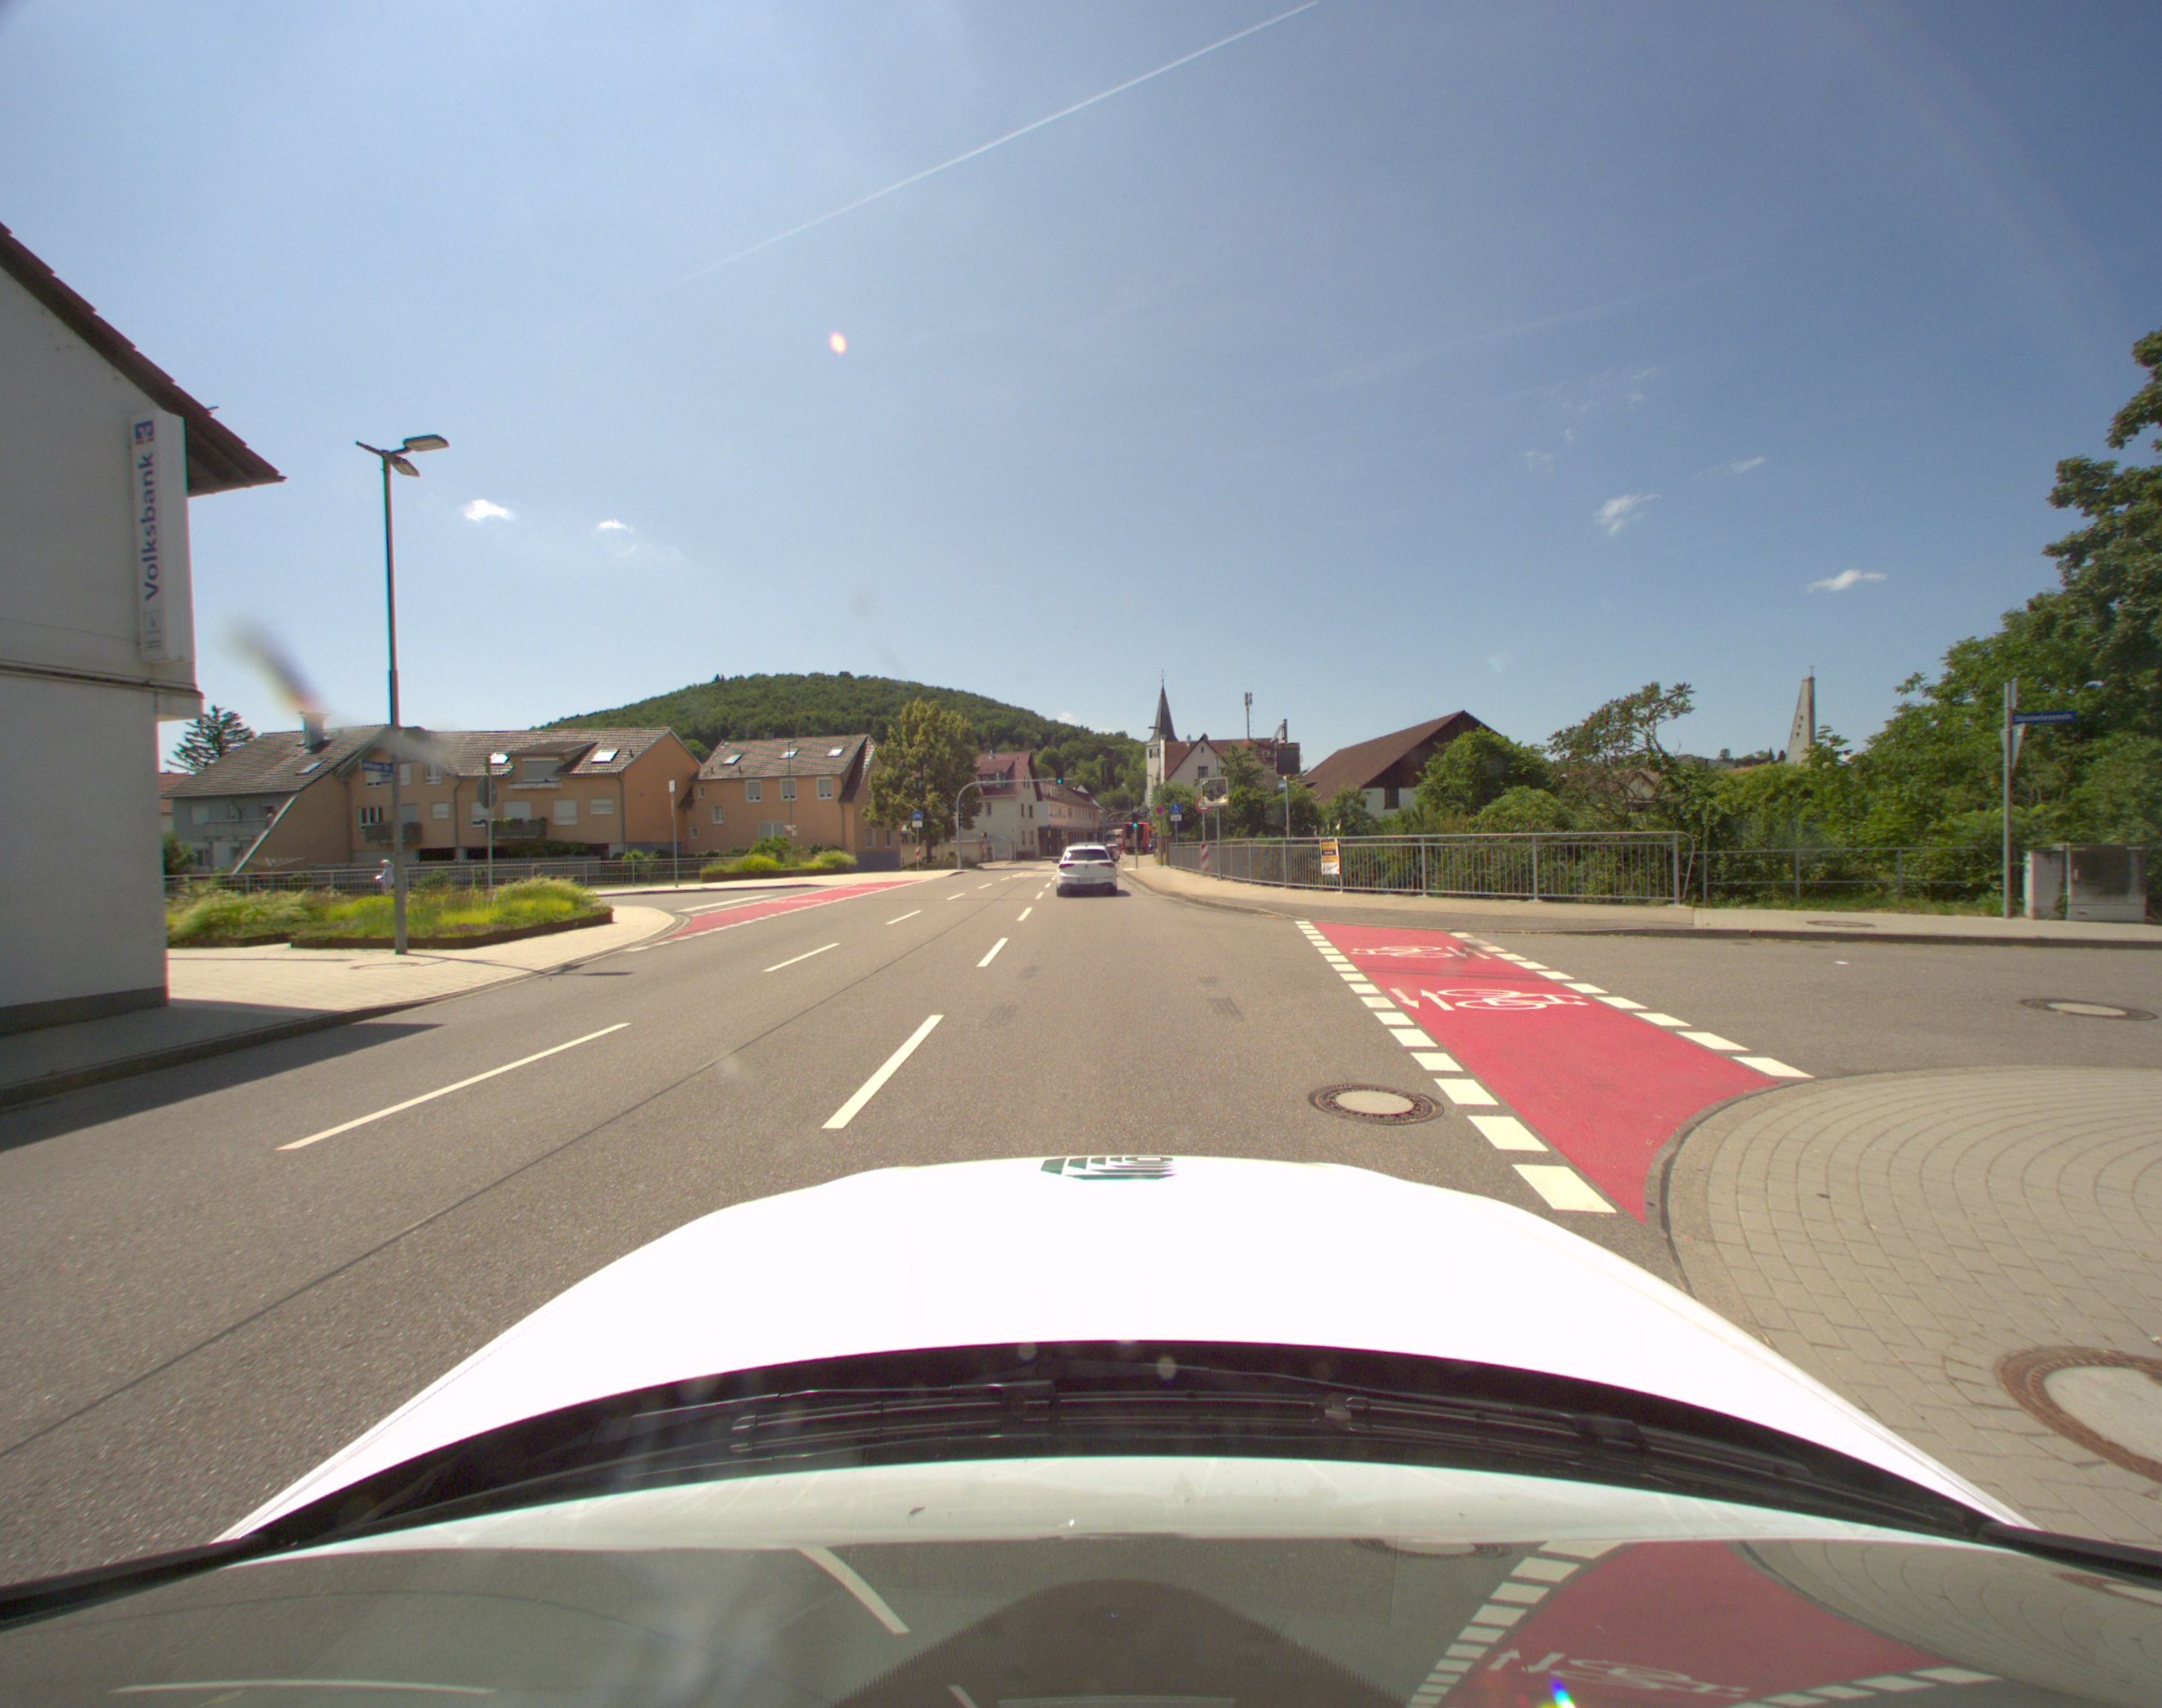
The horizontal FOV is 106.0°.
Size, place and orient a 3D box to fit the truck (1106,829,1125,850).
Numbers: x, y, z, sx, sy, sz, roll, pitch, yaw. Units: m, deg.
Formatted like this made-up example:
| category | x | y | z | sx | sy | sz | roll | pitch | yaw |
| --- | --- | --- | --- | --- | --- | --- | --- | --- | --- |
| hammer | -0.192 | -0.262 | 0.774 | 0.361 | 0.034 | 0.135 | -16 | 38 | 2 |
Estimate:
| category | x | y | z | sx | sy | sz | roll | pitch | yaw |
| --- | --- | --- | --- | --- | --- | --- | --- | --- | --- |
| truck | 5.572 | -2.285 | 131.825 | 2.489 | 3.235 | 6.052 | -3 | 0 | 7 |

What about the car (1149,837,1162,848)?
| category | x | y | z | sx | sy | sz | roll | pitch | yaw |
| --- | --- | --- | --- | --- | --- | --- | --- | --- | --- |
| car | 10.983 | -1.732 | 120.336 | 1.807 | 1.519 | 4.004 | -3 | 0 | 4 |

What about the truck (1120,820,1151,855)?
| category | x | y | z | sx | sy | sz | roll | pitch | yaw |
| --- | --- | --- | --- | --- | --- | --- | --- | --- | --- |
| truck | 7.166 | -2.074 | 105.286 | 3.350 | 4.170 | 9.536 | -3 | 0 | 6 |

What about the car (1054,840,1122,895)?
| category | x | y | z | sx | sy | sz | roll | pitch | yaw |
| --- | --- | --- | --- | --- | --- | --- | --- | --- | --- |
| car | 0.300 | 0.370 | 24.593 | 1.807 | 1.519 | 4.004 | 0 | 0 | 4 |

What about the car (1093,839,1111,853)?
| category | x | y | z | sx | sy | sz | roll | pitch | yaw |
| --- | --- | --- | --- | --- | --- | --- | --- | --- | --- |
| car | 2.450 | -0.918 | 94.819 | 1.807 | 1.519 | 4.004 | -3 | 0 | 4 |

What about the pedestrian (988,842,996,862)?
| category | x | y | z | sx | sy | sz | roll | pitch | yaw |
| --- | --- | --- | --- | --- | --- | --- | --- | --- | --- |
| pedestrian | -8.328 | -0.194 | 76.242 | 0.430 | 1.764 | 0.560 | -2 | 1 | 23 |

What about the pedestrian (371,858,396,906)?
| category | x | y | z | sx | sy | sz | roll | pitch | yaw |
| --- | --- | --- | --- | --- | --- | --- | --- | --- | --- |
| pedestrian | -26.067 | 1.033 | 30.430 | 0.617 | 1.748 | 0.501 | -2 | 1 | -35 |

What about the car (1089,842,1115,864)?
| category | x | y | z | sx | sy | sz | roll | pitch | yaw |
| --- | --- | --- | --- | --- | --- | --- | --- | --- | --- |
| car | 1.745 | -0.108 | 65.688 | 1.807 | 1.628 | 4.004 | -3 | 0 | 4 |

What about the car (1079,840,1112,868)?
| category | x | y | z | sx | sy | sz | roll | pitch | yaw |
| --- | --- | --- | --- | --- | --- | --- | --- | --- | --- |
| car | 0.949 | 0.023 | 51.721 | 1.807 | 1.628 | 4.004 | -3 | 0 | 4 |

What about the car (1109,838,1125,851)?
| category | x | y | z | sx | sy | sz | roll | pitch | yaw |
| --- | --- | --- | --- | --- | --- | --- | --- | --- | --- |
| car | 5.057 | -1.324 | 114.199 | 1.985 | 1.705 | 4.317 | -3 | 0 | 4 |

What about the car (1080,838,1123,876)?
| category | x | y | z | sx | sy | sz | roll | pitch | yaw |
| --- | --- | --- | --- | --- | --- | --- | --- | --- | --- |
| car | 1.043 | 0.124 | 39.198 | 1.807 | 1.628 | 4.004 | -3 | 0 | 4 |

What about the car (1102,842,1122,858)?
| category | x | y | z | sx | sy | sz | roll | pitch | yaw |
| --- | --- | --- | --- | --- | --- | --- | --- | --- | --- |
| car | 3.218 | -0.376 | 83.330 | 1.807 | 1.519 | 4.004 | -3 | 0 | 4 |

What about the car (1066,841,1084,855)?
| category | x | y | z | sx | sy | sz | roll | pitch | yaw |
| --- | --- | --- | --- | --- | --- | --- | --- | --- | --- |
| car | -0.674 | -0.733 | 96.800 | 1.807 | 1.649 | 4.004 | 0 | 0 | 4 |
